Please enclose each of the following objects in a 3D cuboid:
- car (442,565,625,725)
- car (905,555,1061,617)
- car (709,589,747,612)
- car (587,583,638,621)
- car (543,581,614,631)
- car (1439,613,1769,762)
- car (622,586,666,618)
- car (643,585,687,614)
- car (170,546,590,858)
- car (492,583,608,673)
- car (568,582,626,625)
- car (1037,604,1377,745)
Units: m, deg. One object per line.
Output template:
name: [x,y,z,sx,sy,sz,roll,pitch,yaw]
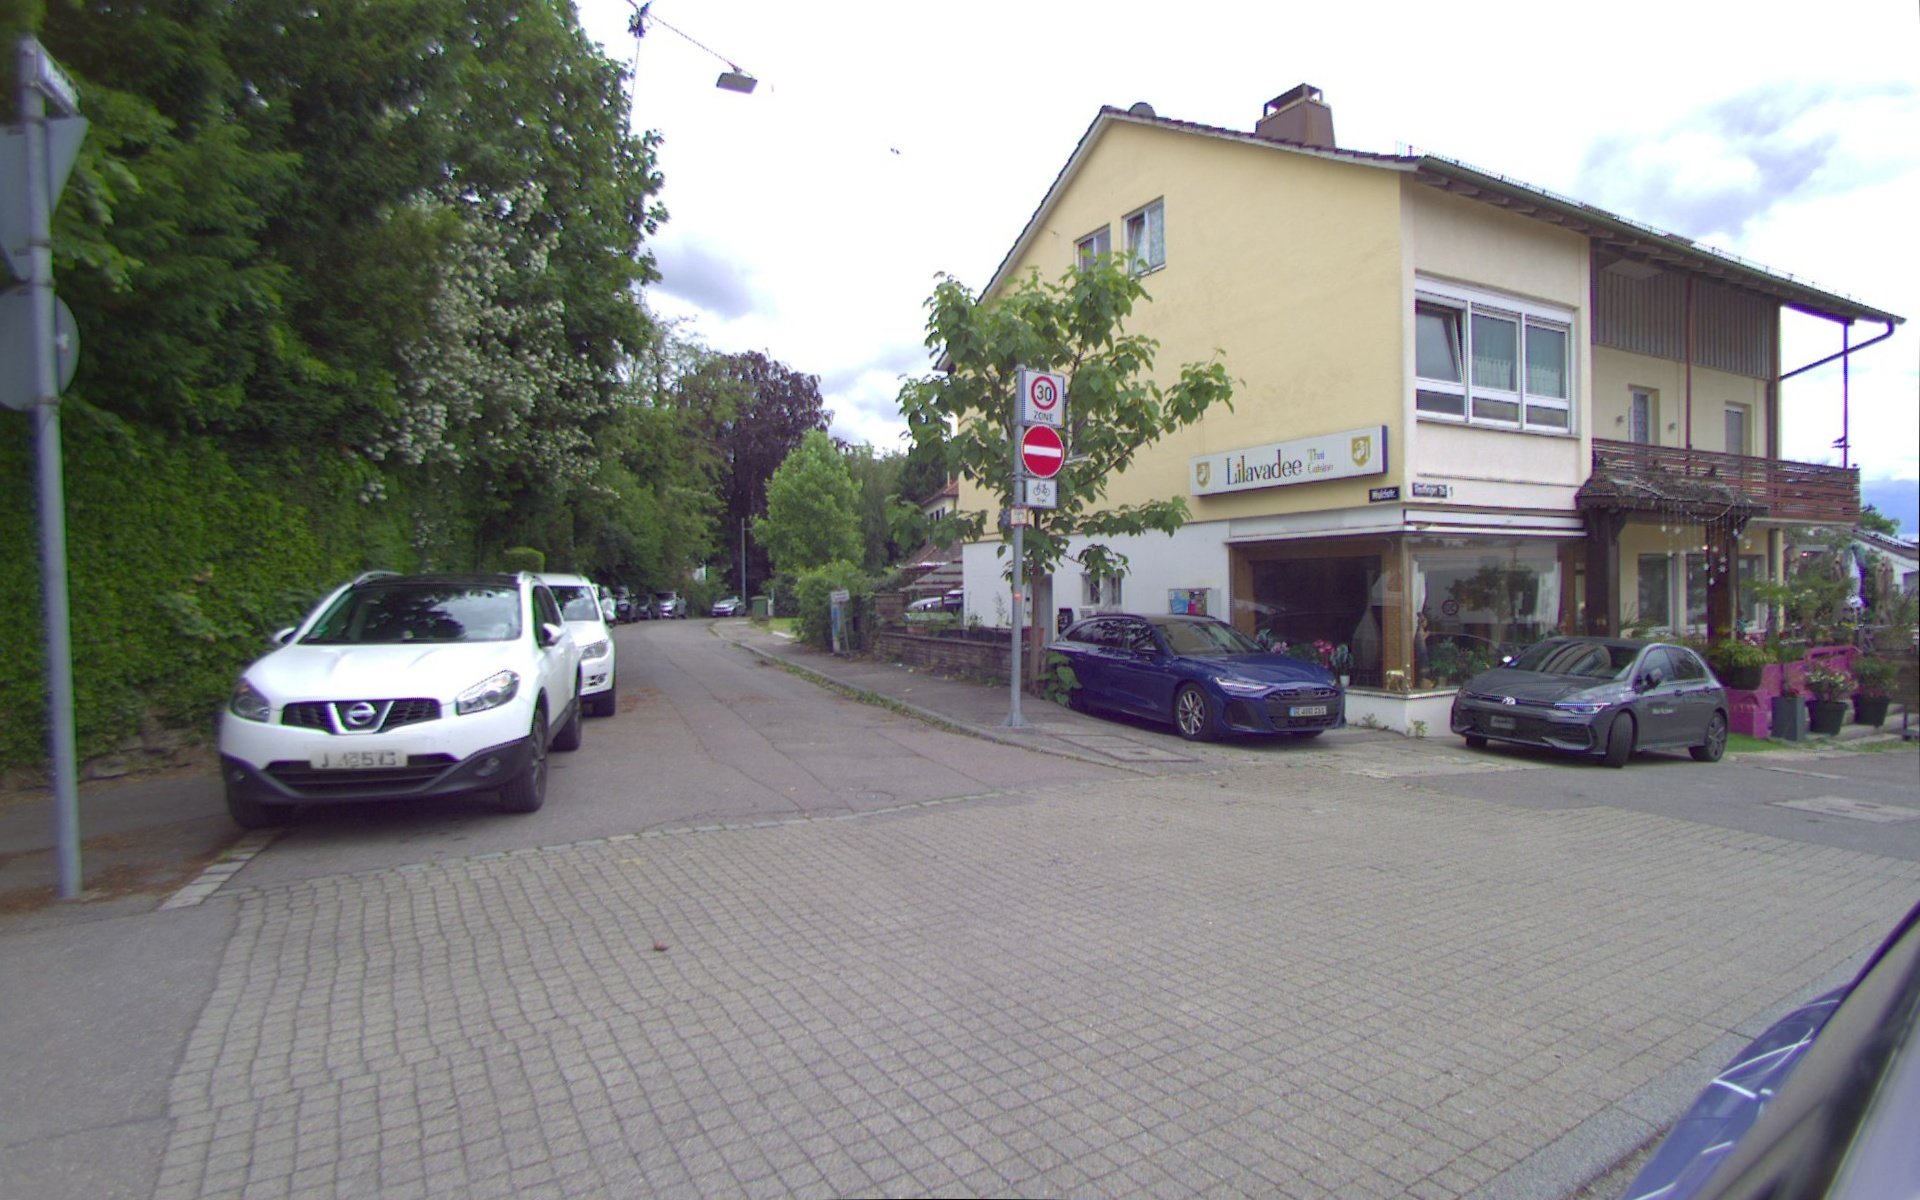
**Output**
car: [-5.174,0.433,12.609,1.761,1.643,4.080,-1,1,-20]
car: [0.667,-0.376,30.345,4.235,1.480,1.802,4,-2,-19]
car: [-16.343,0.028,71.457,1.547,1.502,3.468,0,1,7]
car: [-14.204,0.045,41.526,1.542,1.502,3.481,-1,1,-11]
car: [-12.214,0.138,32.592,1.542,1.502,3.745,-1,1,-11]
car: [7.946,1.064,12.371,4.242,1.480,1.800,5,-2,-34]
car: [-15.913,0.074,51.112,1.542,1.502,3.479,-1,1,-8]
car: [-16.236,-0.041,55.795,1.543,1.502,3.476,0,1,-3]
car: [-3.865,0.507,7.554,1.761,1.643,4.144,-1,1,-16]
car: [-7.443,0.423,18.623,1.761,1.441,4.080,-1,1,-20]
car: [-13.420,0.103,37.546,1.542,1.502,3.481,-1,1,-11]
car: [2.917,0.827,13.210,1.761,1.405,4.758,2,0,-23]
